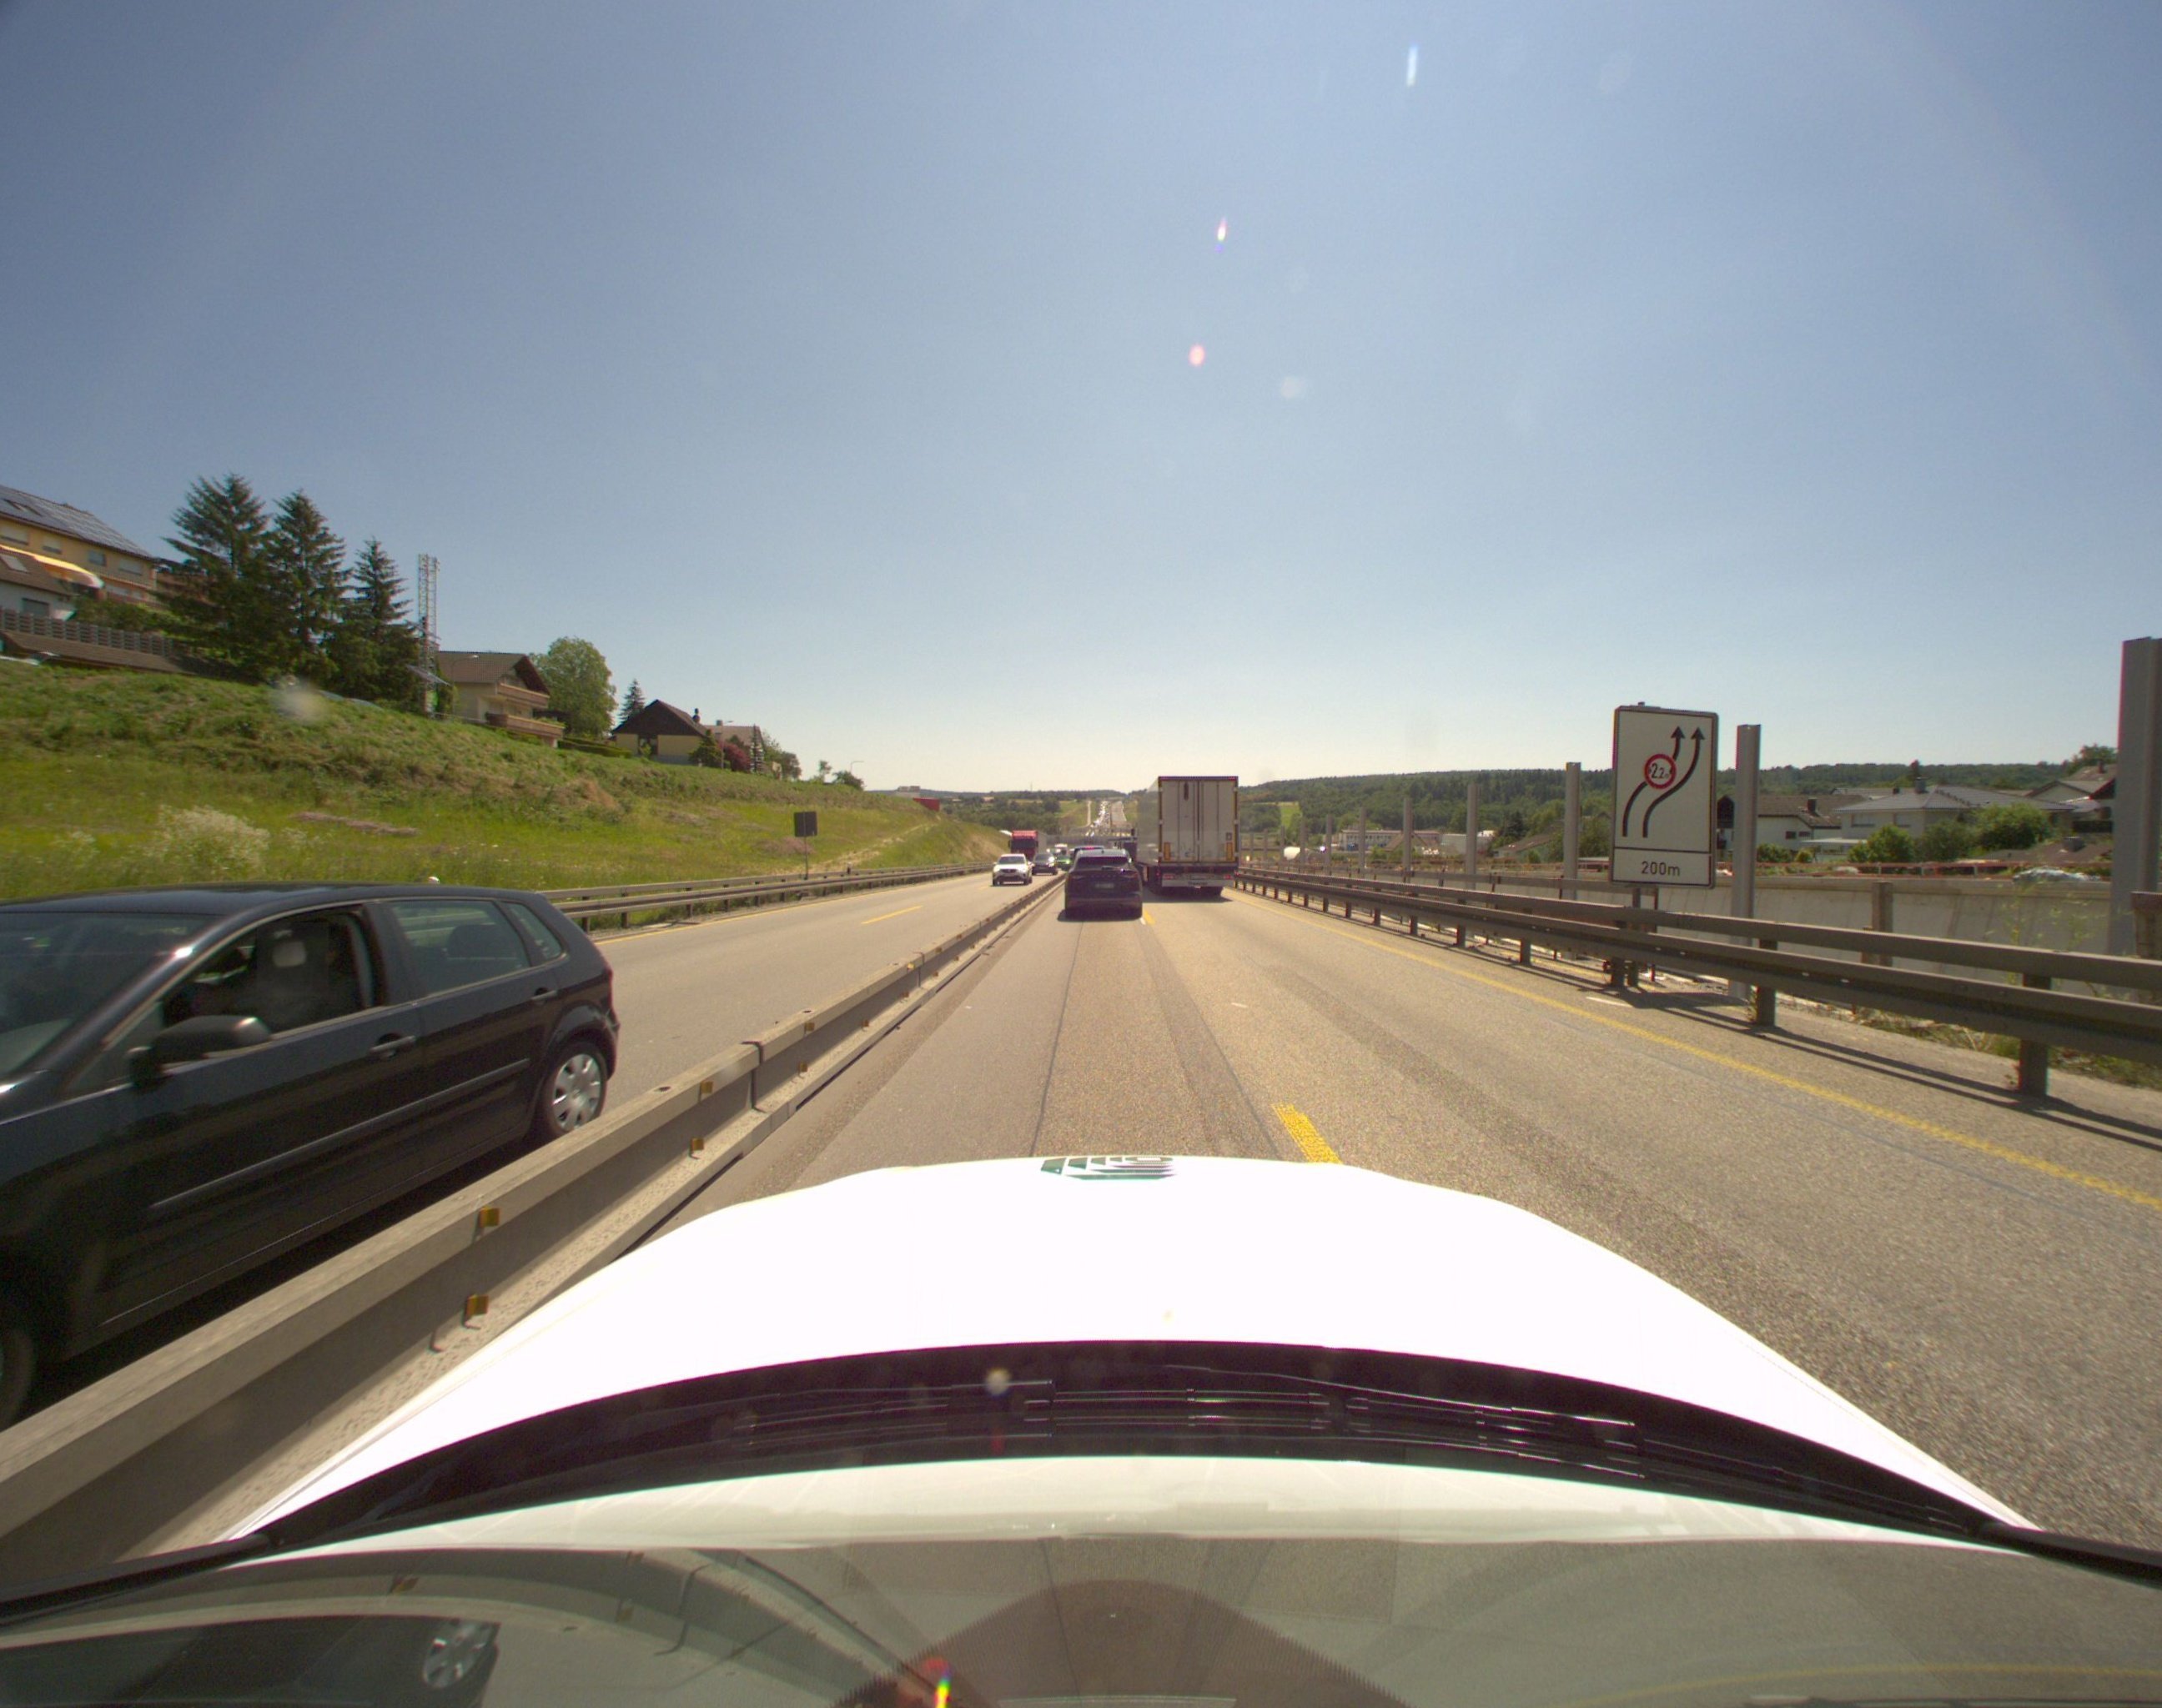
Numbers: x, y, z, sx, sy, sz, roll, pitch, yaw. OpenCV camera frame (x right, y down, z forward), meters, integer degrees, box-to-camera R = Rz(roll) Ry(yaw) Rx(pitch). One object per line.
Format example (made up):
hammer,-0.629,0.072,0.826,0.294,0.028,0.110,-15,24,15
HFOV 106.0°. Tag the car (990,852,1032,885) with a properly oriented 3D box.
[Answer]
car,-3.431,0.701,40.528,1.787,1.518,3.997,-1,0,-1

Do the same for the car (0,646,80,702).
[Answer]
car,-51.978,-8.819,39.391,1.983,2.014,4.007,0,-1,7

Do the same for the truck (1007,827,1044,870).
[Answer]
truck,-5.646,-0.432,84.853,2.842,4.140,11.917,0,-1,1

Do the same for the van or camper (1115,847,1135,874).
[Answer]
van or camper,5.530,0.892,101.783,2.379,3.281,6.474,-1,-1,3

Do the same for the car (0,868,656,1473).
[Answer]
car,-3.442,0.797,3.057,1.660,1.413,3.817,0,0,0

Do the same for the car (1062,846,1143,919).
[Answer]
car,0.553,0.661,20.162,1.795,1.607,4.001,0,-1,2

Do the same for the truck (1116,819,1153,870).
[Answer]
truck,4.950,-0.804,76.714,3.169,4.513,8.166,0,-1,1

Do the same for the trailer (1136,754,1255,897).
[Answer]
trailer,4.079,-0.938,32.490,3.169,4.513,13.111,0,0,1

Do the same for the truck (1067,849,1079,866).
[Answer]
truck,-2.163,1.024,217.496,2.842,4.338,11.917,0,-1,1

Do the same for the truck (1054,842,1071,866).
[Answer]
truck,-3.635,0.043,158.842,2.842,4.338,11.917,0,-1,1

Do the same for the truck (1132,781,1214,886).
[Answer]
truck,4.203,-0.902,39.001,3.169,4.513,8.167,0,0,1

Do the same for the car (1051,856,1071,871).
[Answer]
car,-2.006,0.957,82.294,1.855,1.476,4.000,0,0,1

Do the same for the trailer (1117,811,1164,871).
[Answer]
trailer,4.846,-0.846,69.525,3.169,4.513,14.968,0,-1,1

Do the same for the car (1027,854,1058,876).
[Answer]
car,-2.767,0.773,59.487,1.987,1.530,4.000,-1,0,1

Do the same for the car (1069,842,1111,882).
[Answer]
car,0.475,0.428,41.849,1.986,1.926,4.508,0,-1,1

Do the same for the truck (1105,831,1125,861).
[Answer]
truck,5.289,-1.196,130.321,2.842,4.465,11.917,0,-1,1

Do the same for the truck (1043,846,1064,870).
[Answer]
truck,-4.477,0.742,135.208,2.842,3.782,11.917,0,-1,1
